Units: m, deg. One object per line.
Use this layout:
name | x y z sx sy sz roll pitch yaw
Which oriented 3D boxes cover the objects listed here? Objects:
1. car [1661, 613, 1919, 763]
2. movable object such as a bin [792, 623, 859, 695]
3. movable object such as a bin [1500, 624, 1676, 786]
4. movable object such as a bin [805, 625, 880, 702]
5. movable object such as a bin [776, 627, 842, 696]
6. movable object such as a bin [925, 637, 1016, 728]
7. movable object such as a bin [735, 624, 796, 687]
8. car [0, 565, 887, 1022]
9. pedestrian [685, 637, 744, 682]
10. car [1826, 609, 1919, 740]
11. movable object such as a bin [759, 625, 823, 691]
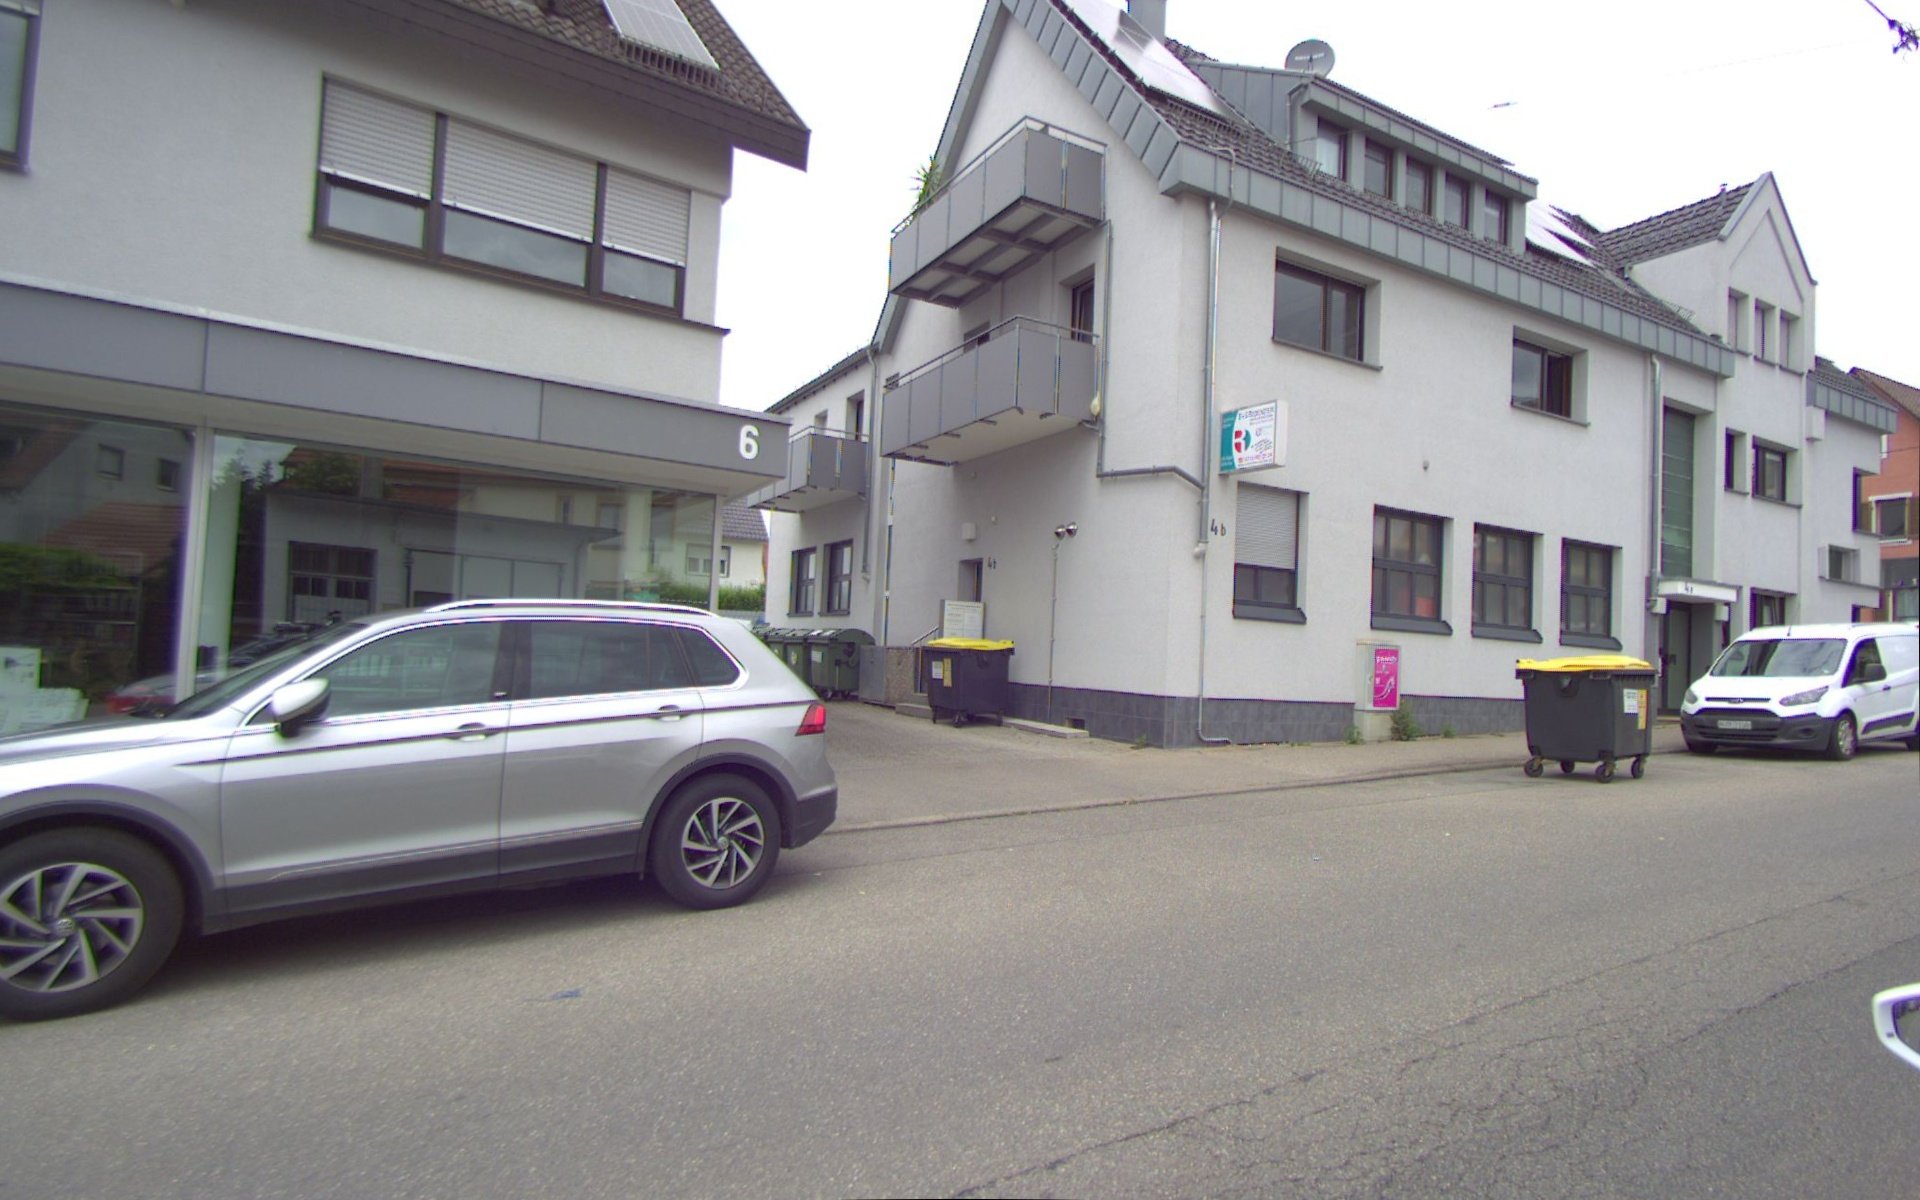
car | 12.086 1.200 14.345 4.247 1.855 1.726 2 -4 -30
movable object such as a bin | -2.914 1.266 21.720 1.191 1.482 0.926 2 0 -24
movable object such as a bin | 6.992 1.117 11.189 1.548 1.654 1.132 2 -3 -36
movable object such as a bin | -2.413 1.283 20.483 1.200 1.477 1.112 2 0 -24
movable object such as a bin | -3.420 1.392 22.724 1.238 1.482 0.939 2 0 -24
movable object such as a bin | 0.159 1.262 15.569 1.135 1.317 0.777 2 0 -30
movable object such as a bin | -4.884 1.382 25.184 1.238 1.482 1.037 2 0 -24
car | -2.716 0.786 5.346 4.366 1.654 1.825 2 -3 -36
pedestrian | -6.510 1.575 26.584 1.288 1.126 1.017 2 0 -27
car | 16.819 1.226 16.854 4.702 2.031 1.806 2 -4 -28
movable object such as a bin | -4.032 1.374 23.913 1.238 1.482 1.029 2 0 -24
